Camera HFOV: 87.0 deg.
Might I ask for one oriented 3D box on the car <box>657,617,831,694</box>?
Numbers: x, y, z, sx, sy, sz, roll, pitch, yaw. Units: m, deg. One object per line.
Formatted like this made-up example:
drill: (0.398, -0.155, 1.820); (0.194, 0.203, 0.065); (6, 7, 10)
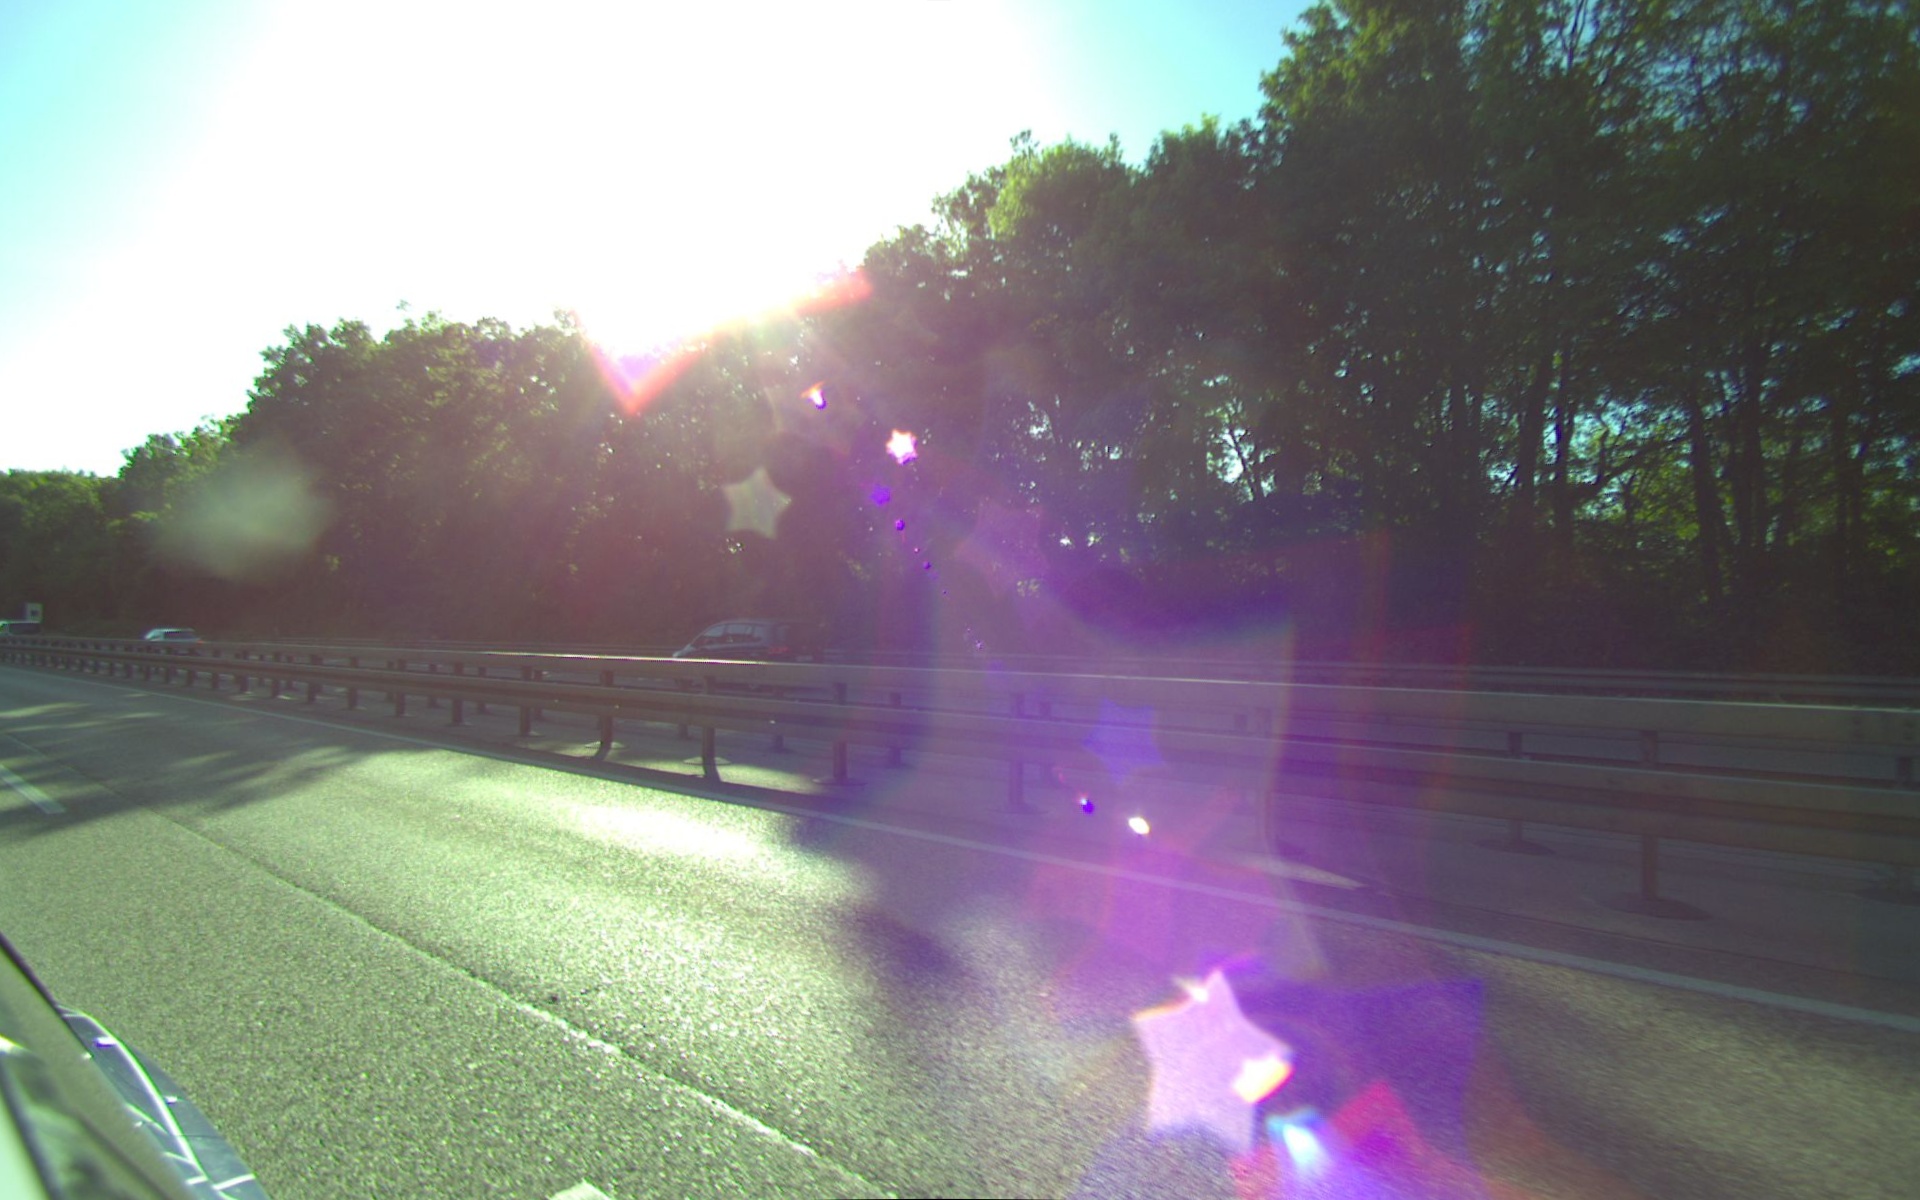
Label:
car: (-5.207, 1.294, 24.031); (4.673, 1.651, 1.580); (-2, -4, 42)

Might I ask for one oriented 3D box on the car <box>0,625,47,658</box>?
car: (-57.204, 2.501, 61.288); (5.408, 1.917, 1.869); (-2, -4, 38)

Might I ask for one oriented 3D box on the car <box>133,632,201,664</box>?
car: (-34.066, 2.053, 43.462); (3.908, 1.324, 1.580); (-2, -4, 42)
